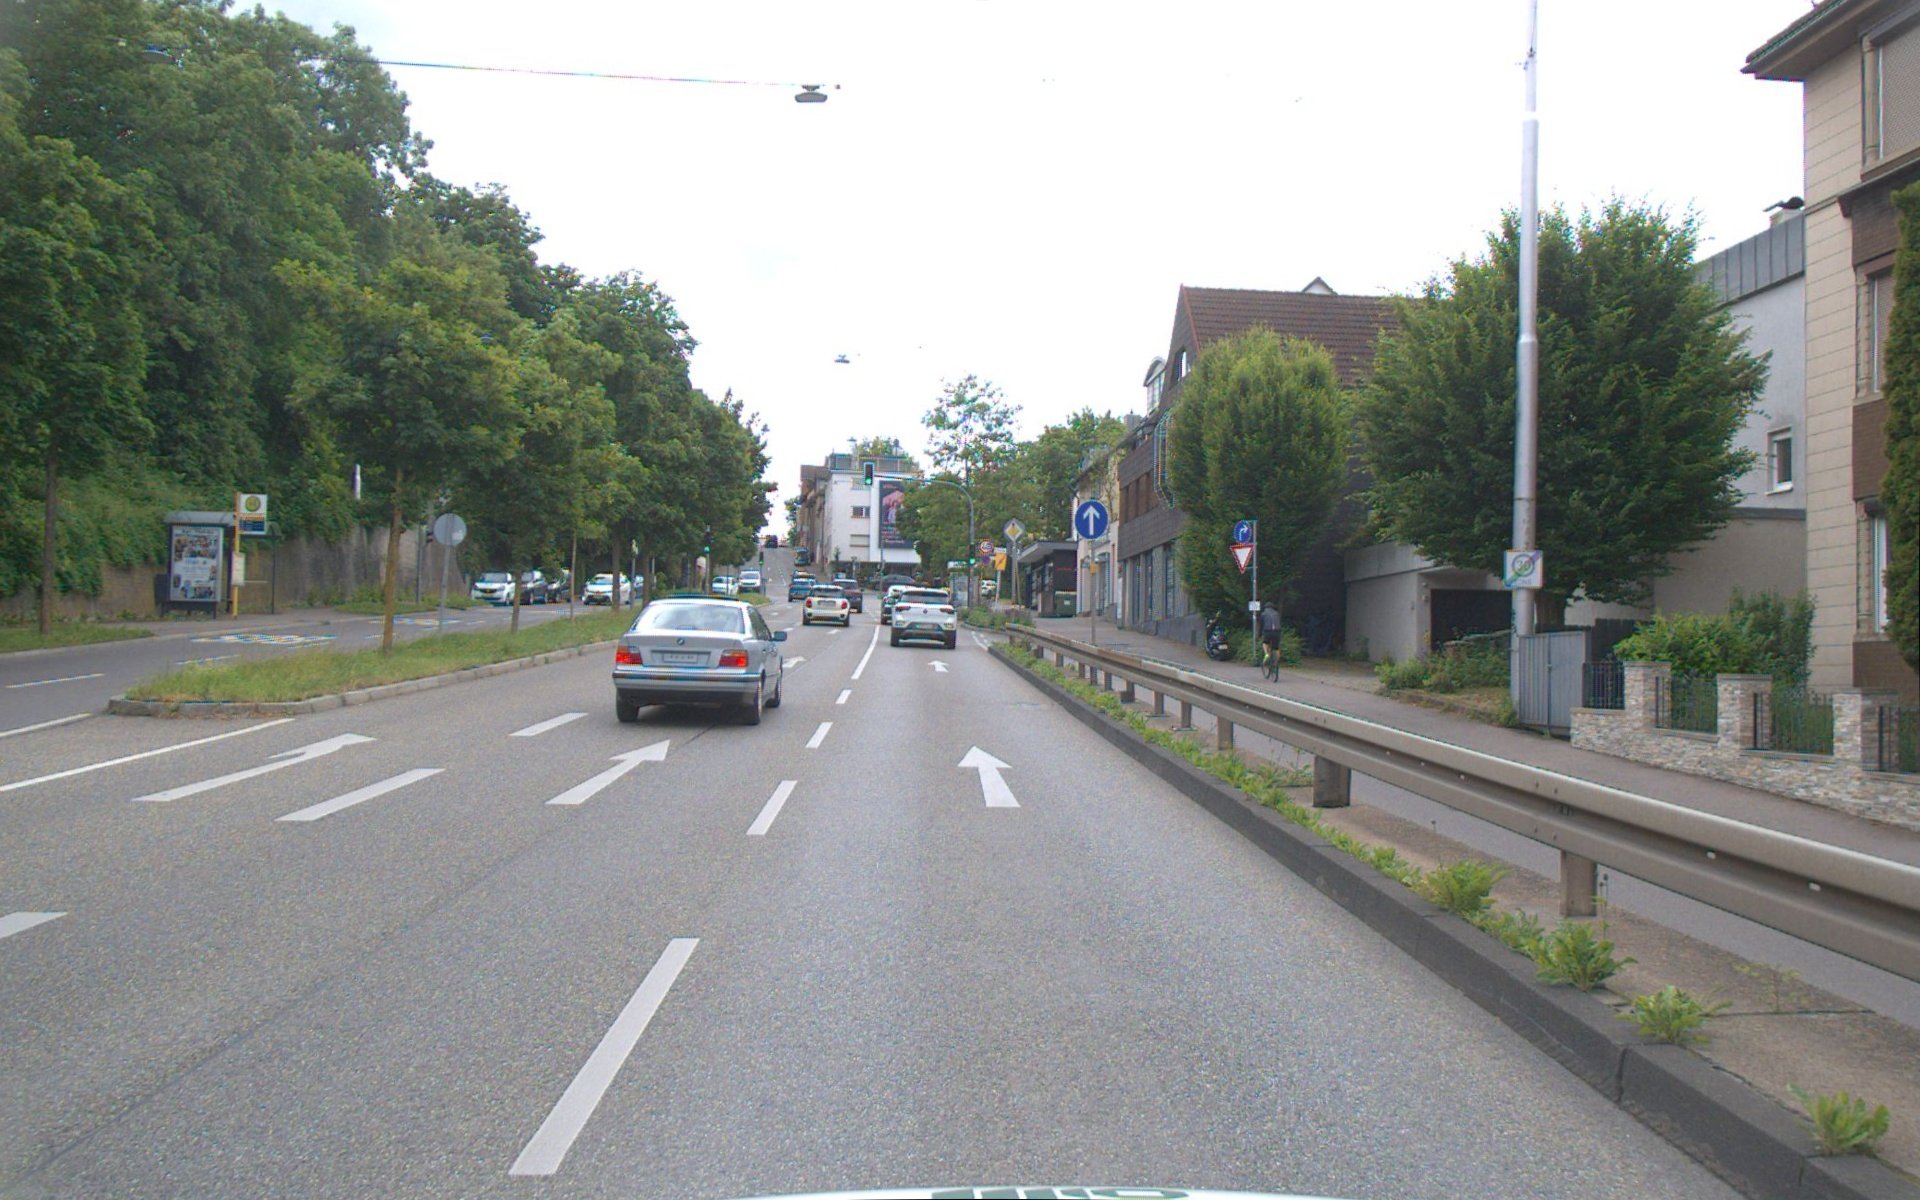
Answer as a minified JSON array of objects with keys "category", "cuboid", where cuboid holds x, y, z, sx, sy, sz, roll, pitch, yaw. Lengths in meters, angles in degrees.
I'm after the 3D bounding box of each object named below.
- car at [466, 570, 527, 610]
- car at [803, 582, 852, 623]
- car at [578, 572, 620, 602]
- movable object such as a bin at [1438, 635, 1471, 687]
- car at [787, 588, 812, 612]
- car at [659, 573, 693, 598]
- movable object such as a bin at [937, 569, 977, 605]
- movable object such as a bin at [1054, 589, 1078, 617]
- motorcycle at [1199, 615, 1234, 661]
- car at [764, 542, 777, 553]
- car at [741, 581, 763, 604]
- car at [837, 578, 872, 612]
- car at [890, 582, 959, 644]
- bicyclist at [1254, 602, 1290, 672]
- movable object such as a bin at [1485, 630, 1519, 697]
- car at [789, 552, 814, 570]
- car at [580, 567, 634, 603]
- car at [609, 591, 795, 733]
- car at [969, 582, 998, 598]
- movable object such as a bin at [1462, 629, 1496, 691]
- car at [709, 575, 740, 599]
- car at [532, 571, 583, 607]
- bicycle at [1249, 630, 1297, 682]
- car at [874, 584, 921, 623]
[{"category":"car","cuboid":[-21.291,-0.504,76.150,1.823,1.699,4.276,3,1,-4]},{"category":"car","cuboid":[-4.790,0.102,60.076,1.689,1.400,3.453,-2,0,-4]},{"category":"car","cuboid":[-21.461,-0.782,98.423,1.823,1.621,4.276,3,1,-4]},{"category":"movable object such as a bin","cuboid":[10.604,1.300,35.459,0.484,1.076,0.538,2,1,-2]},{"category":"car","cuboid":[-11.252,-0.008,116.206,1.689,1.610,3.453,-2,0,-5]},{"category":"car","cuboid":[-19.338,-0.993,112.702,1.823,1.568,4.276,3,1,-4]},{"category":"movable object such as a bin","cuboid":[-0.179,-0.739,91.289,1.858,1.902,1.525,2,1,-11]},{"category":"movable object such as a bin","cuboid":[5.686,0.132,88.580,1.172,1.433,0.710,3,1,-3]},{"category":"motorcycle","cuboid":[7.109,1.035,45.929,0.596,1.182,2.040,0,1,-2]},{"category":"car","cuboid":[-28.009,-7.749,244.932,1.788,1.534,3.995,3,1,-6]},{"category":"car","cuboid":[-17.342,-0.636,137.940,1.635,1.898,3.243,-1,1,-3]},{"category":"car","cuboid":[-5.386,-0.248,84.109,1.689,1.668,3.453,-2,0,-5]},{"category":"car","cuboid":[-0.963,0.341,44.836,1.761,1.545,3.455,-2,0,-2]},{"category":"bicyclist","cuboid":[7.195,0.844,38.153,0.555,1.551,0.958,-2,1,-4]},{"category":"movable object such as a bin","cuboid":[11.668,1.359,35.642,0.484,1.387,0.538,2,1,-2]},{"category":"car","cuboid":[-18.565,-4.570,193.995,2.460,2.048,5.180,3,1,-2]},{"category":"car","cuboid":[-18.194,-0.798,85.379,1.822,1.699,4.279,3,1,0]},{"category":"car","cuboid":[-2.976,0.649,19.929,1.601,1.407,4.618,2,1,-2]},{"category":"car","cuboid":[2.113,-0.900,148.958,1.686,1.400,3.458,-2,0,17]},{"category":"movable object such as a bin","cuboid":[11.137,1.284,35.480,0.484,1.294,0.538,2,1,-2]},{"category":"car","cuboid":[-16.764,-0.971,117.845,1.823,1.568,4.276,3,1,-4]},{"category":"car","cuboid":[-20.986,-0.595,86.379,1.823,1.699,4.276,3,1,-4]},{"category":"bicycle","cuboid":[7.215,1.271,38.209,0.555,1.081,2.004,-2,1,-4]},{"category":"car","cuboid":[-2.423,0.148,63.351,1.688,1.400,3.454,-2,0,-4]}]
